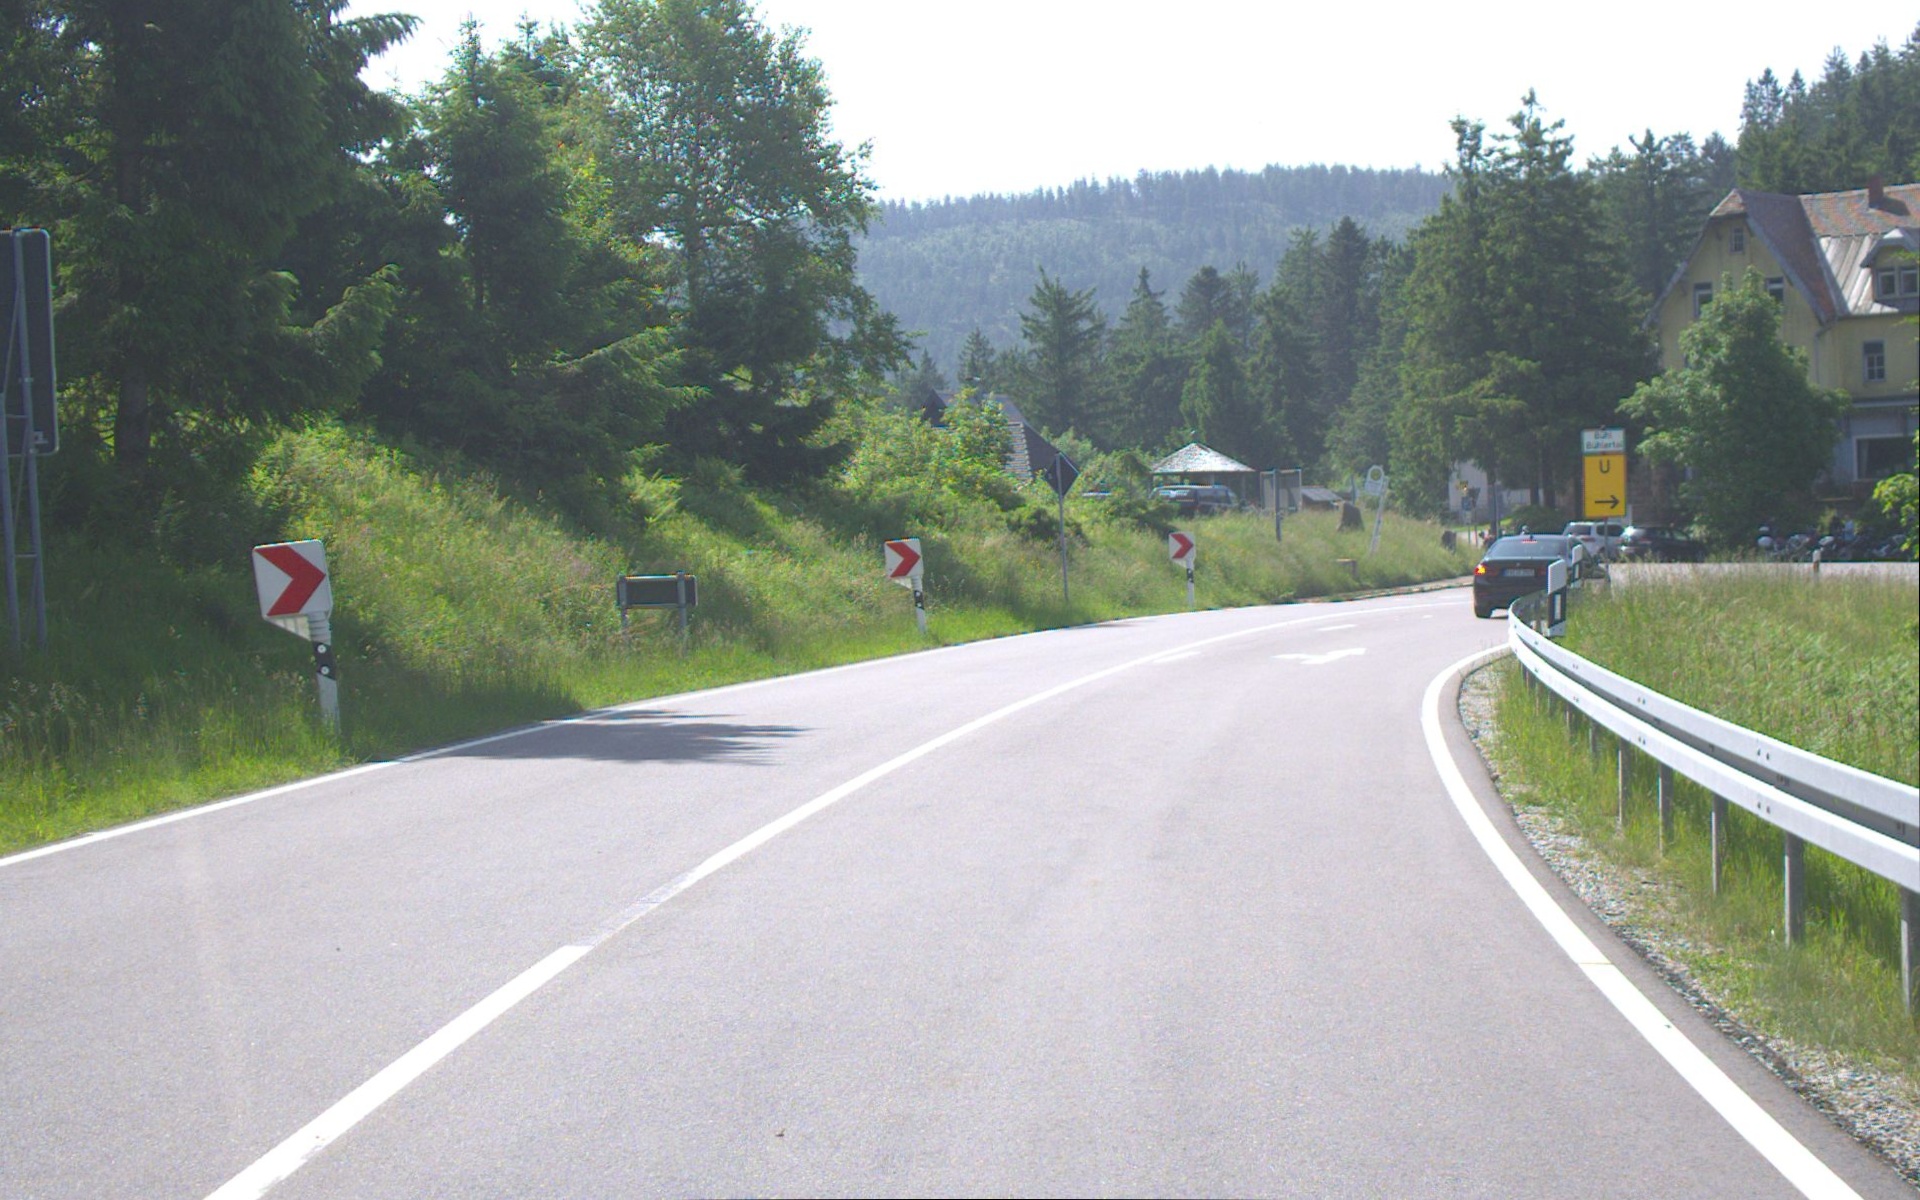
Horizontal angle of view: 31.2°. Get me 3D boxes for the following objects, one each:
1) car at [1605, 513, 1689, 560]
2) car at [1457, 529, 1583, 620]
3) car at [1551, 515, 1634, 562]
[{"bbox_3d":[26.307,-2.439,131.574,1.891,1.642,4.288,-2,1,29],"label":"car"},{"bbox_3d":[9.625,-0.454,58.939,1.777,1.437,3.707,-1,1,14],"label":"car"},{"bbox_3d":[24.557,-2.411,133.395,1.857,1.665,4.378,-2,1,28],"label":"car"}]
